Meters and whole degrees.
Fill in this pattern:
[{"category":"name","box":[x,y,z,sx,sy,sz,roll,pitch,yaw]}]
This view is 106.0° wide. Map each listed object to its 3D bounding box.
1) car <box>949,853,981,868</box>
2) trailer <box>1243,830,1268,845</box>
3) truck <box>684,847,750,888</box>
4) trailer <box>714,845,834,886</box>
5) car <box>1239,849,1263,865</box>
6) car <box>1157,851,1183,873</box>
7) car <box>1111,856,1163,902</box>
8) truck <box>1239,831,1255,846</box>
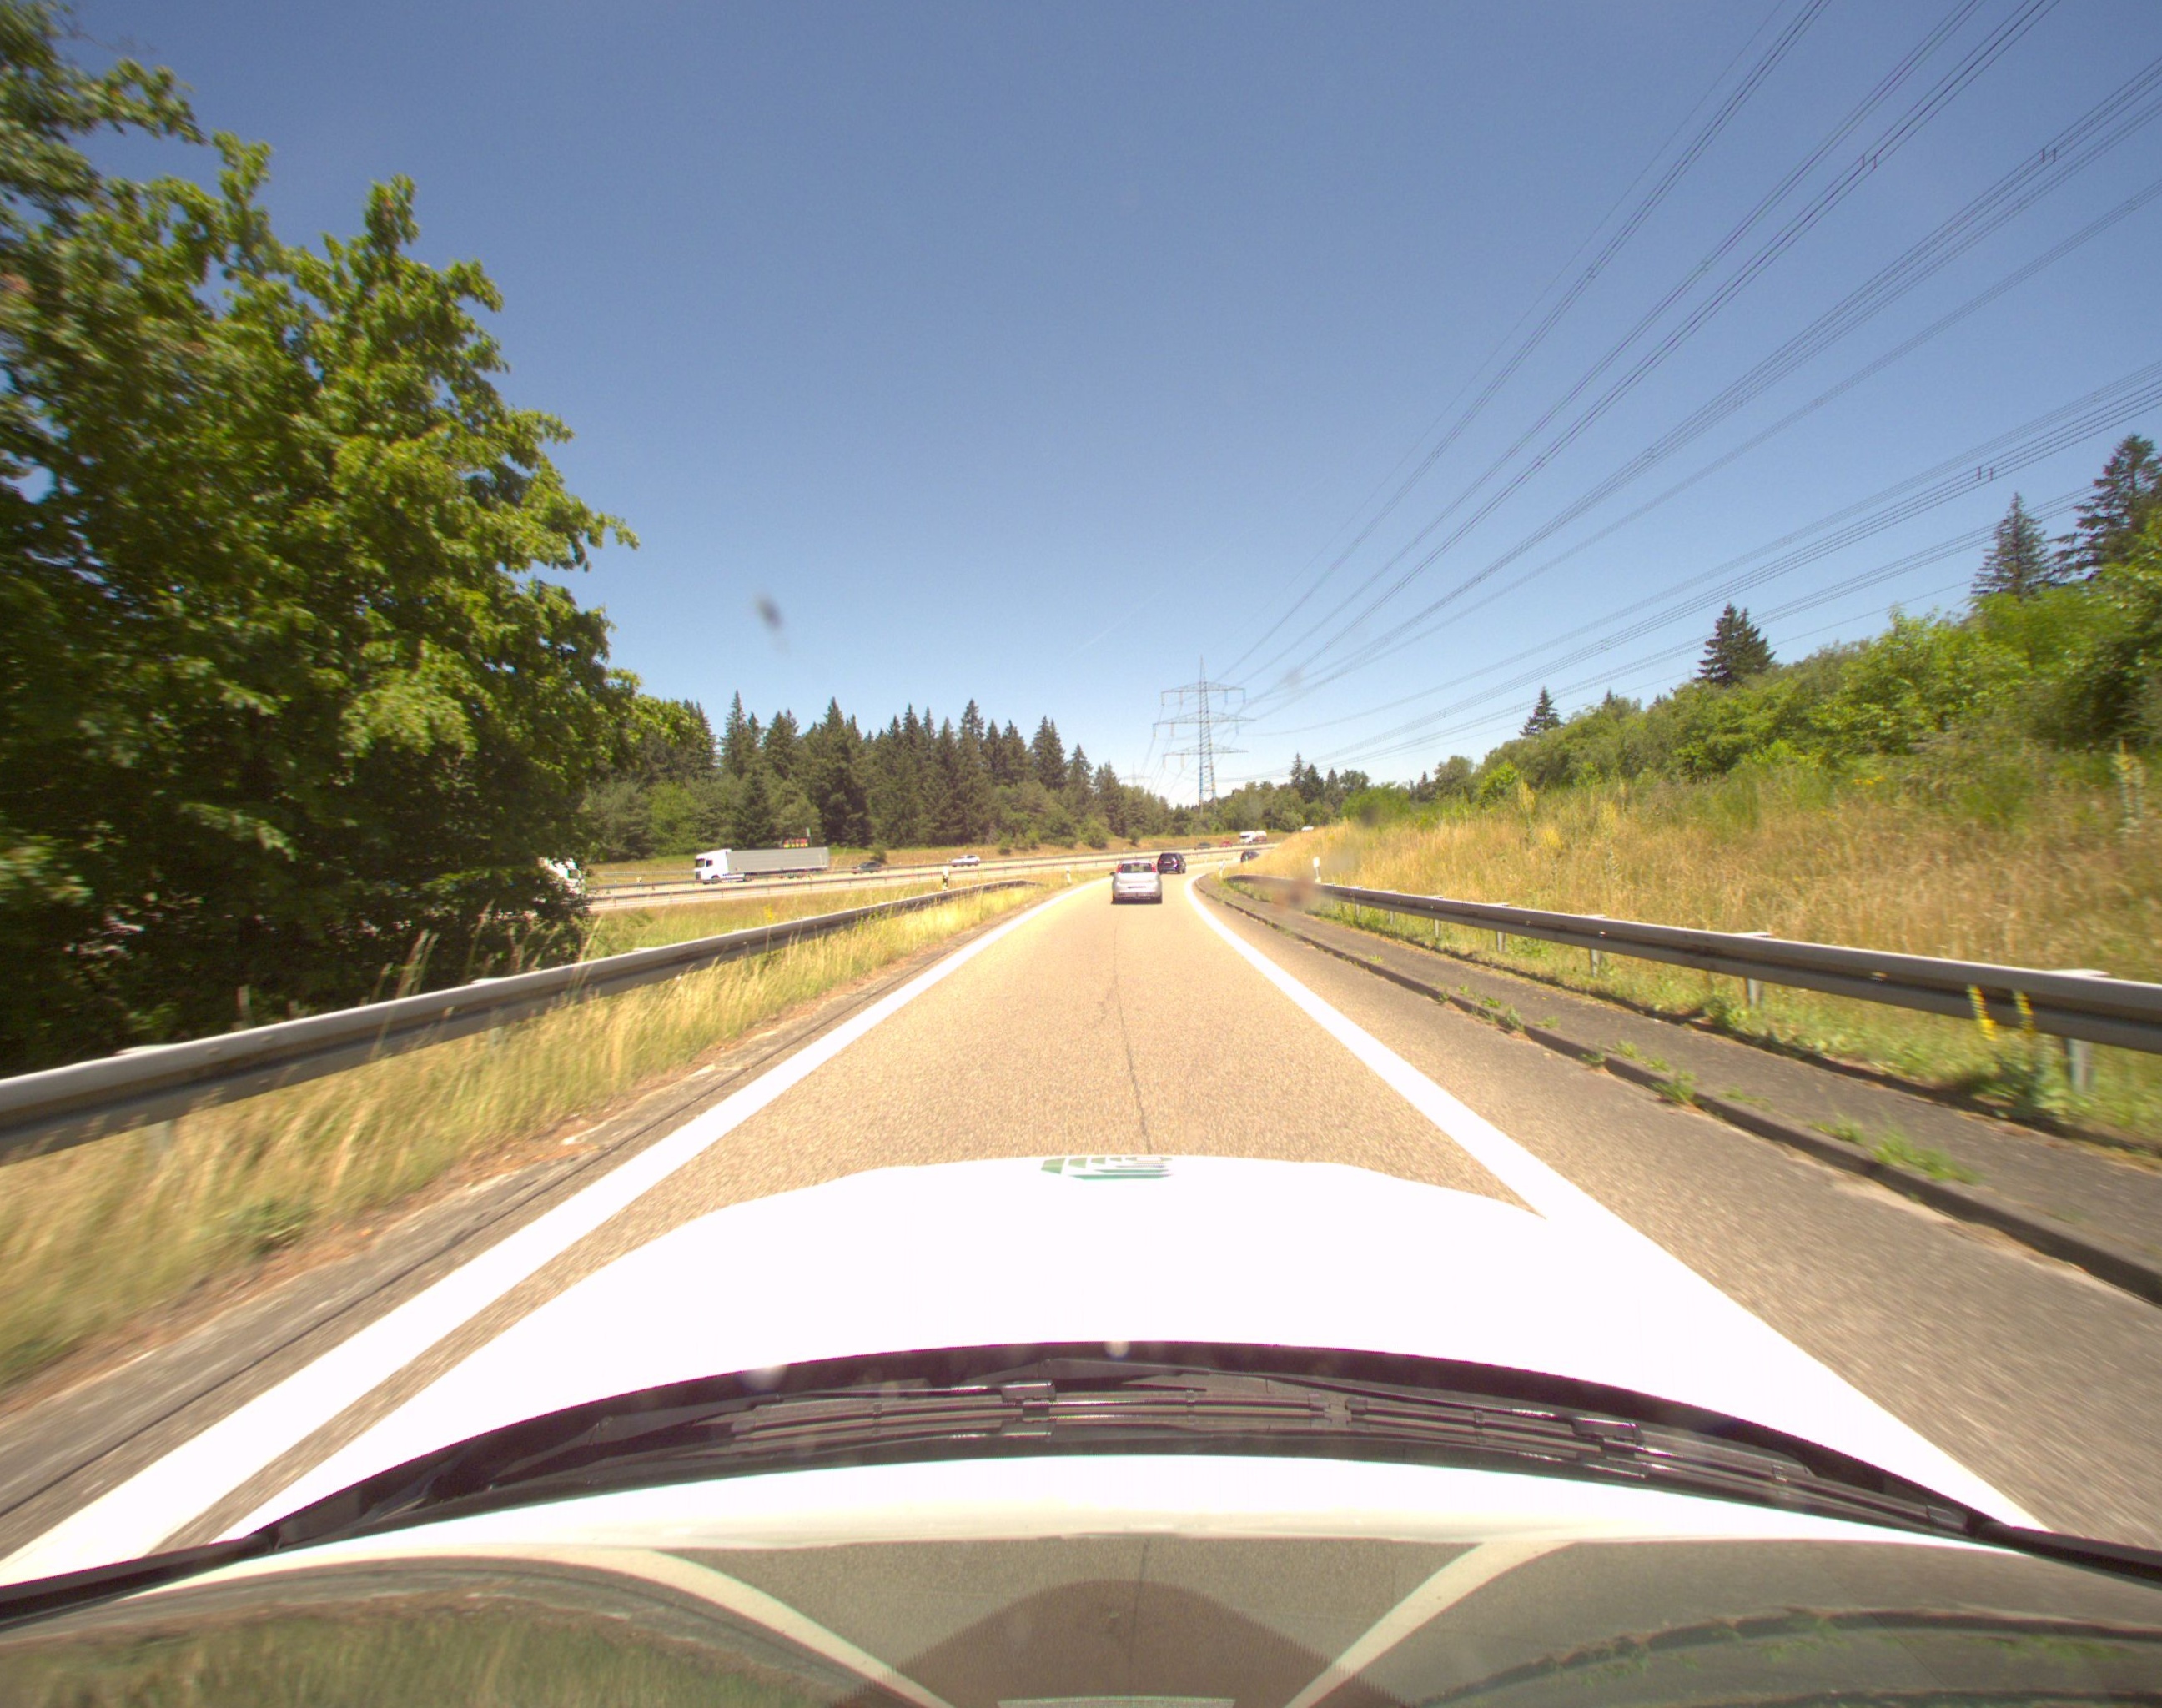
[{"category":"car","box":[-16.680,0.923,117.326,1.974,1.848,4.386,-2,3,40]},{"category":"trailer","box":[49.723,-4.631,231.666,2.746,3.797,8.994,-1,3,41]},{"category":"truck","box":[-43.149,1.581,96.620,2.910,4.392,6.311,-4,0,40]},{"category":"trailer","box":[-38.261,1.304,102.514,2.896,4.387,14.389,-4,0,40]},{"category":"car","box":[21.206,0.371,101.599,1.864,1.684,4.024,-4,0,27]},{"category":"car","box":[7.366,0.640,66.850,1.694,1.676,3.410,-1,0,13]},{"category":"car","box":[1.885,0.821,28.000,1.699,1.482,3.400,0,0,2]},{"category":"truck","box":[46.344,-4.345,227.739,2.741,3.796,4.026,-1,2,41]}]
